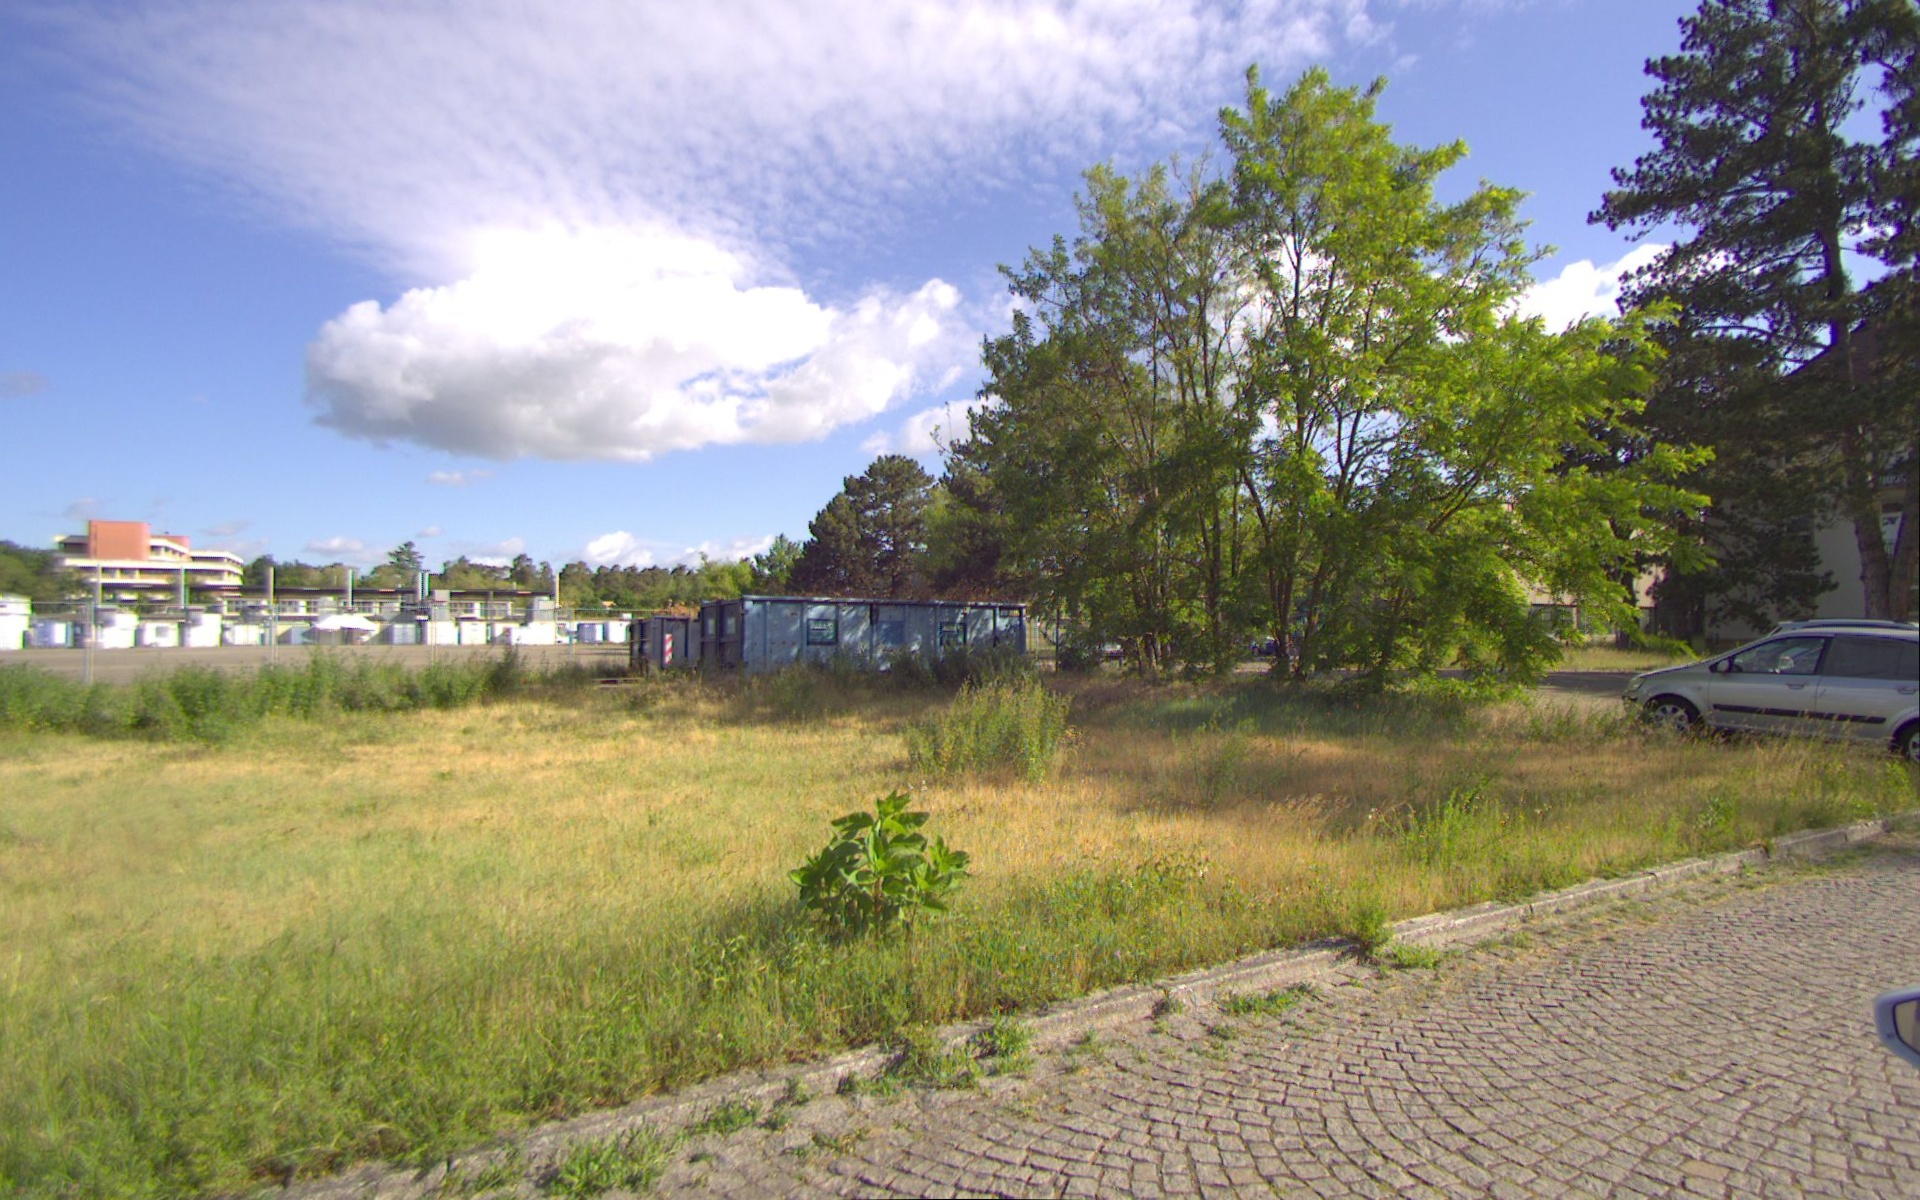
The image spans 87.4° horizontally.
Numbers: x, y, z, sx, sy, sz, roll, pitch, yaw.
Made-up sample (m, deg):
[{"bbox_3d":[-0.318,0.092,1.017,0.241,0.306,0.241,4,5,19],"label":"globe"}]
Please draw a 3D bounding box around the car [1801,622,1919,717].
[{"bbox_3d":[16.701,1.175,16.320,1.810,1.488,4.309,0,0,-32],"label":"car"}]

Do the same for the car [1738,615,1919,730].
[{"bbox_3d":[14.631,1.086,15.258,1.865,1.614,4.057,0,1,-32],"label":"car"}]

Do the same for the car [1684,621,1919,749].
[{"bbox_3d":[12.320,1.088,13.392,1.783,1.500,3.964,0,1,-32],"label":"car"}]

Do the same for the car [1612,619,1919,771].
[{"bbox_3d":[10.165,1.038,11.940,1.628,1.507,3.725,0,1,-32],"label":"car"}]

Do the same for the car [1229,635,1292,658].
[{"bbox_3d":[20.275,3.125,67.653,3.952,1.452,1.894,2,-2,-30],"label":"car"}]
